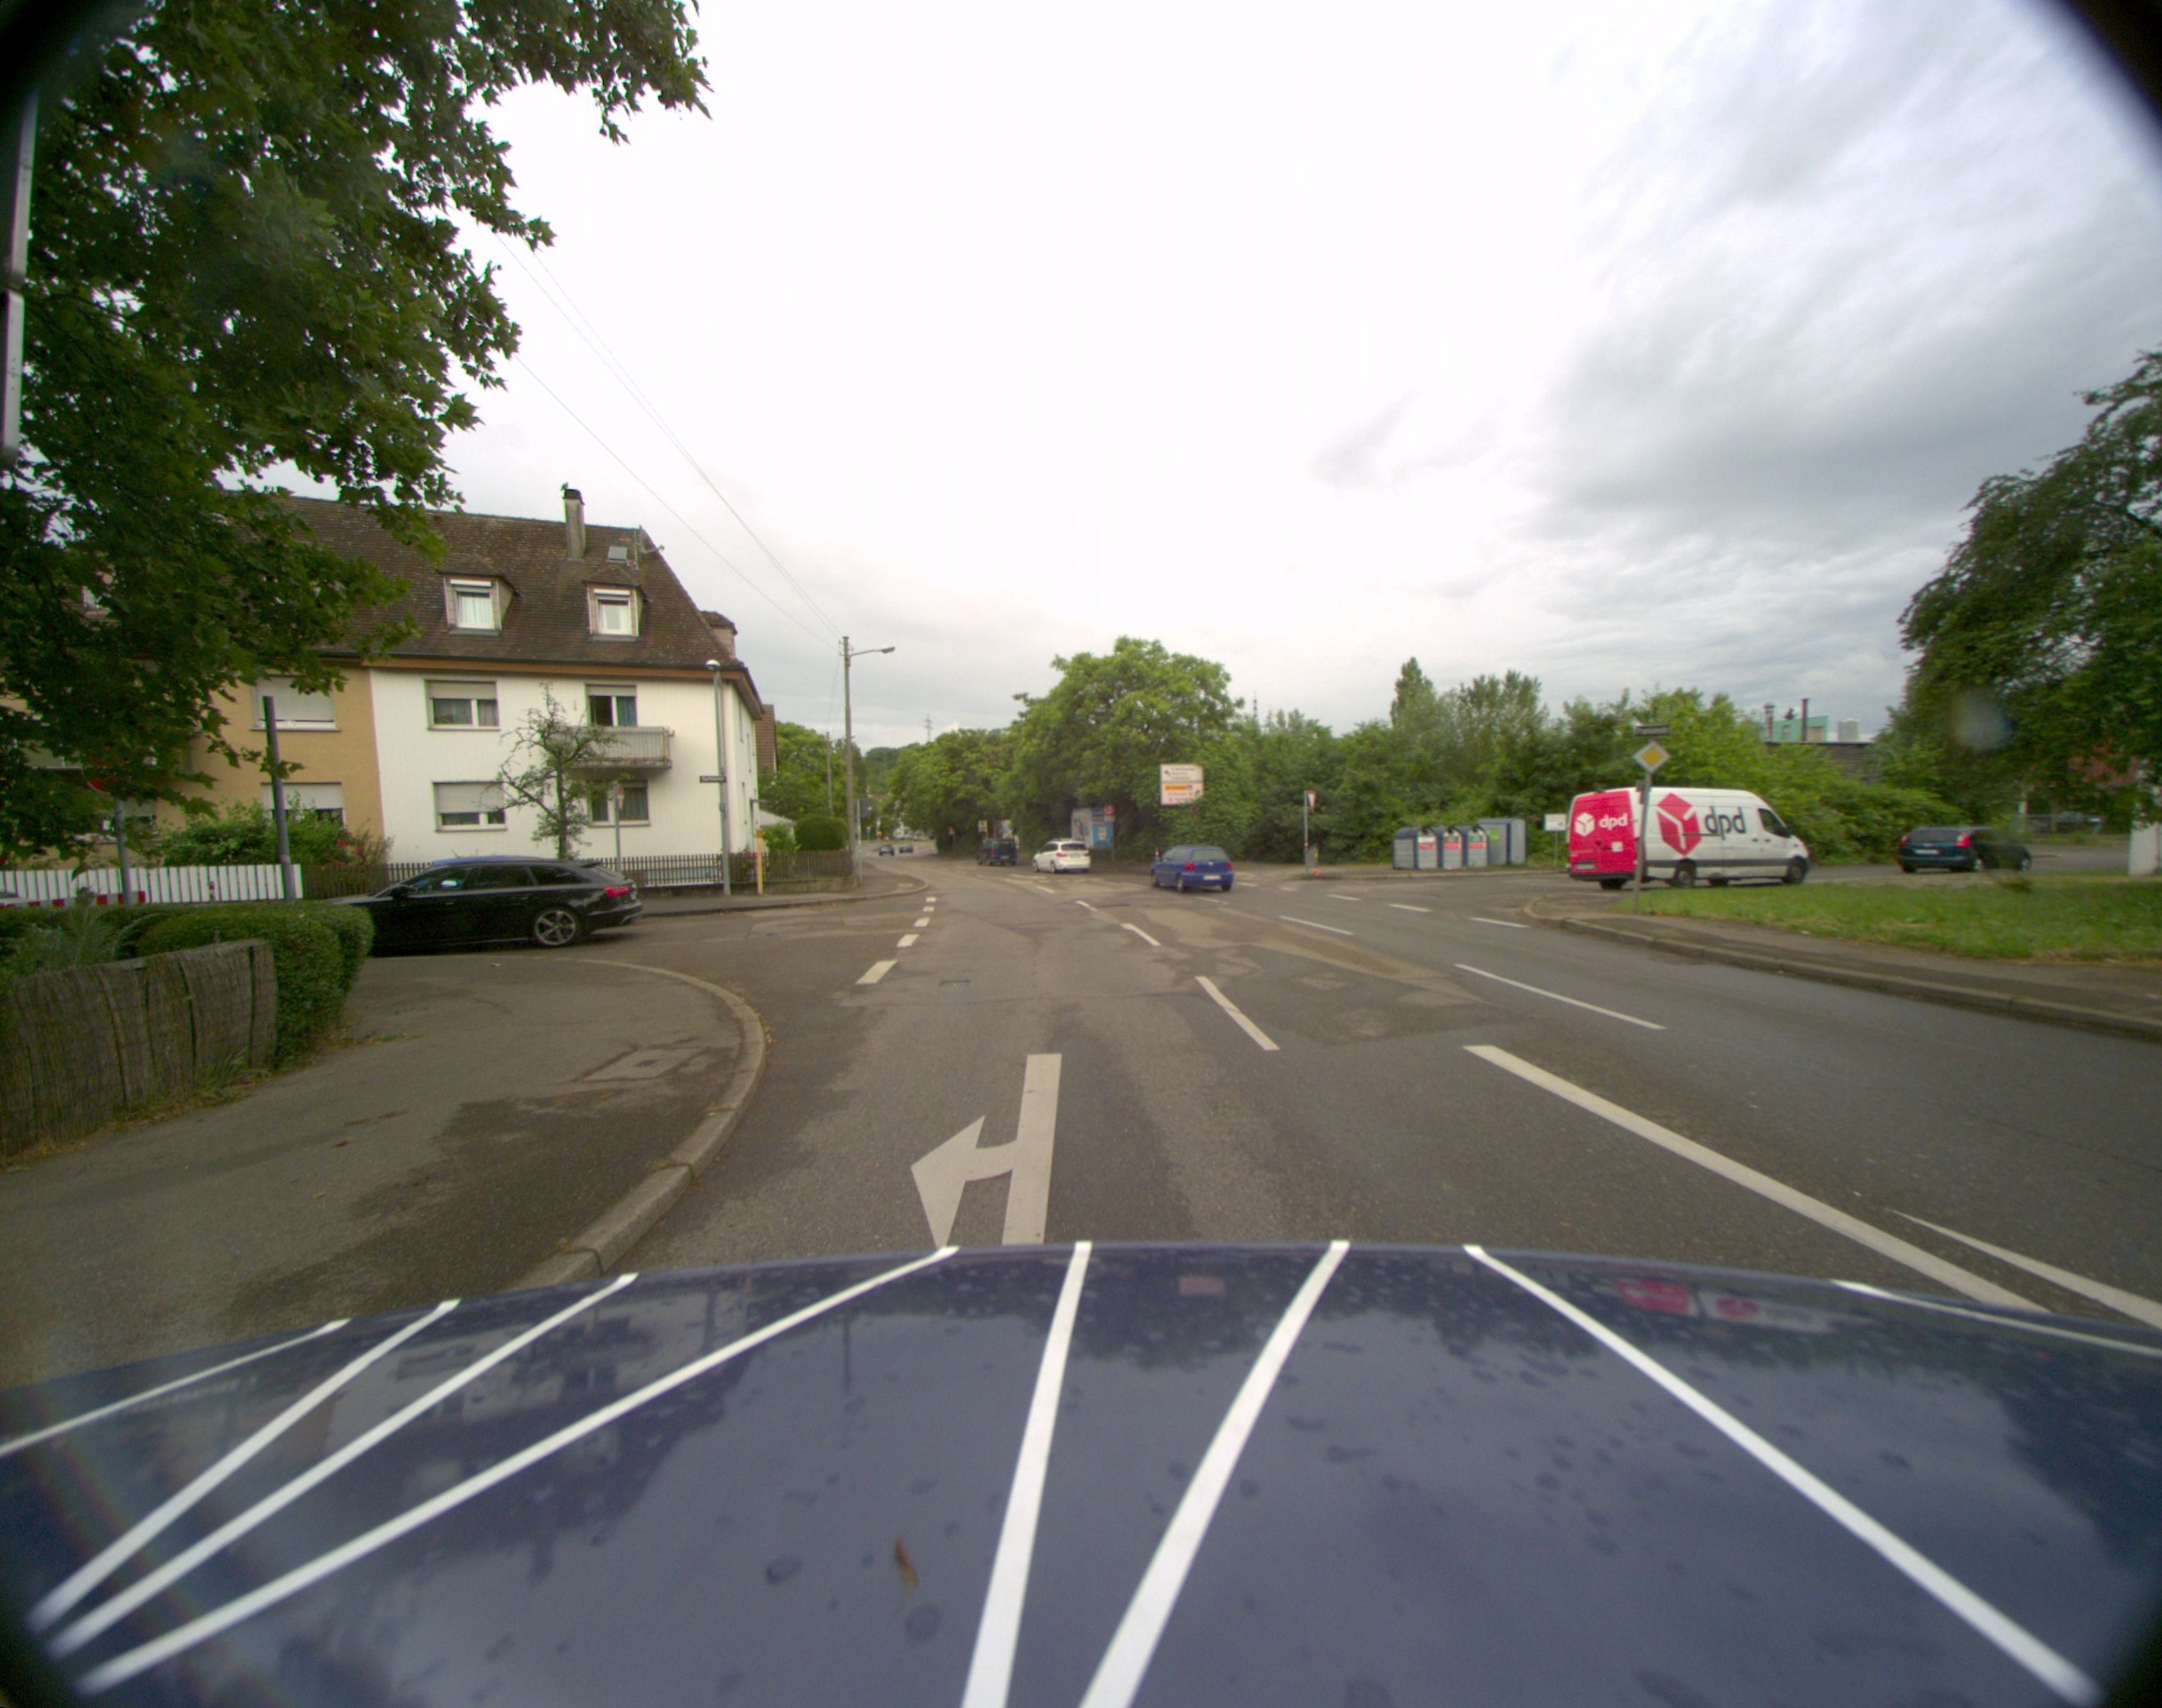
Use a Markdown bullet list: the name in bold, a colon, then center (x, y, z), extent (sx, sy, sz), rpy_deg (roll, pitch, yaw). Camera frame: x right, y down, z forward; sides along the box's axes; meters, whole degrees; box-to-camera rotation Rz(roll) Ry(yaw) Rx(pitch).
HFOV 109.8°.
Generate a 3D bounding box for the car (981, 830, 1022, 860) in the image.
- **car**: center (-5.540, -0.649, 52.475), extent (1.965, 1.920, 4.676), rpy_deg (-2, 1, -16)

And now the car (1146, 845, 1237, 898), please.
- **car**: center (3.349, 0.468, 23.692), extent (1.603, 1.418, 3.692), rpy_deg (-2, 2, -12)

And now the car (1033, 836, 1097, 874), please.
- **car**: center (-0.862, -0.003, 38.022), extent (1.839, 1.570, 4.324), rpy_deg (-3, 4, -20)

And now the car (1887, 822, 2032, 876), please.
- **car**: center (30.142, -0.209, 26.079), extent (4.257, 1.620, 1.996), rpy_deg (-3, 2, -22)

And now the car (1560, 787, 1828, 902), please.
- **car**: center (16.165, -0.350, 20.032), extent (6.829, 2.641, 2.258), rpy_deg (-2, 2, -20)

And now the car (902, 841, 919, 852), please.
- **car**: center (-26.778, -1.206, 119.339), extent (1.999, 1.435, 4.770), rpy_deg (-2, 2, -6)

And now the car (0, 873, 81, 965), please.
- **car**: center (-19.469, 1.124, 12.153), extent (3.788, 1.445, 1.769), rpy_deg (-2, 1, -20)

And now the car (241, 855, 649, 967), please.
- **car**: center (-10.053, 0.815, 12.610), extent (4.824, 1.472, 1.882), rpy_deg (-1, 1, -24)

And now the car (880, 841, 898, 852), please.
- **car**: center (-25.505, -1.009, 101.064), extent (1.903, 1.453, 3.992), rpy_deg (-2, 1, -20)

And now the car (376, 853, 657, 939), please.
- **car**: center (-11.121, 0.764, 15.349), extent (4.130, 1.472, 1.883), rpy_deg (-1, 1, -17)
